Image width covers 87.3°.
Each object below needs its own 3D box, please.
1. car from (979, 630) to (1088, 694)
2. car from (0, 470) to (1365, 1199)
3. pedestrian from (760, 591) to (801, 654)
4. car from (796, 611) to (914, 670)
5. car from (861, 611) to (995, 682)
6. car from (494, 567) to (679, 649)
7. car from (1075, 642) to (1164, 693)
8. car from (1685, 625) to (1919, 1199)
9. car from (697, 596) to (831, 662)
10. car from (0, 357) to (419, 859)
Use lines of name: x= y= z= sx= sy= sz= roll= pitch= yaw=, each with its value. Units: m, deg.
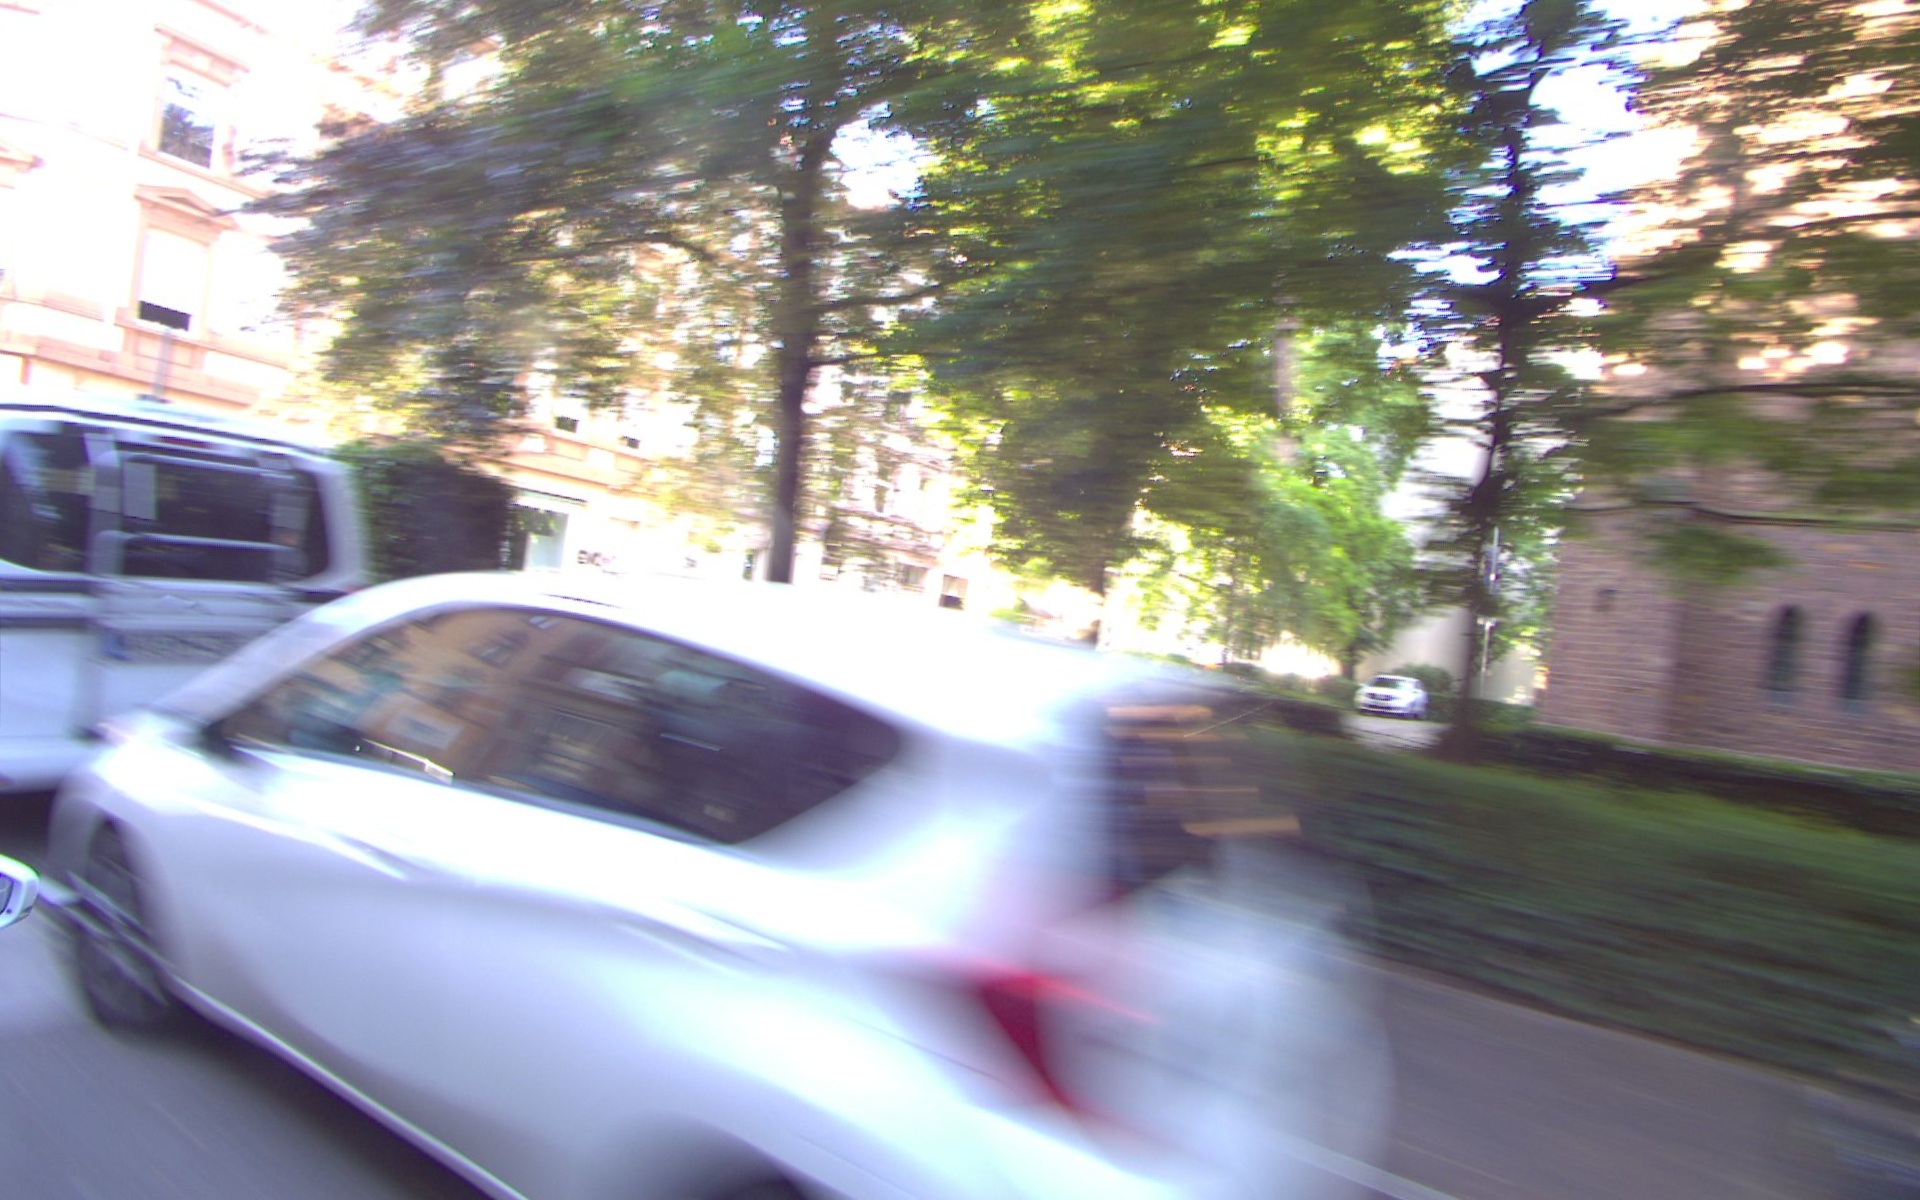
car: x=2.364 y=1.986 z=31.777 sx=1.610 sy=1.667 sz=3.532 roll=4 pitch=-4 yaw=38
car: x=-0.996 y=0.641 z=3.018 sx=3.763 sy=1.589 sz=1.722 roll=7 pitch=-1 yaw=30
pedestrian: x=-6.024 y=0.758 z=33.759 sx=0.787 sy=1.943 sz=0.716 roll=10 pitch=1 yaw=31
car: x=-3.332 y=1.332 z=32.492 sx=1.610 sy=1.489 sz=3.689 roll=4 pitch=-4 yaw=38
car: x=-0.797 y=1.277 z=26.967 sx=1.610 sy=1.489 sz=3.532 roll=4 pitch=-4 yaw=38
car: x=-9.032 y=0.236 z=24.573 sx=1.610 sy=1.489 sz=3.856 roll=4 pitch=-4 yaw=38
car: x=5.842 y=2.493 z=36.669 sx=1.610 sy=1.489 sz=3.532 roll=4 pitch=-4 yaw=38
car: x=3.161 y=1.054 z=0.553 sx=4.191 sy=1.625 sz=1.740 roll=6 pitch=3 yaw=29
car: x=-5.636 y=0.865 z=29.265 sx=1.610 sy=1.489 sz=3.532 roll=4 pitch=-4 yaw=38
car: x=-5.450 y=-0.149 z=5.897 sx=4.714 sy=2.024 sz=1.915 roll=7 pitch=1 yaw=34
